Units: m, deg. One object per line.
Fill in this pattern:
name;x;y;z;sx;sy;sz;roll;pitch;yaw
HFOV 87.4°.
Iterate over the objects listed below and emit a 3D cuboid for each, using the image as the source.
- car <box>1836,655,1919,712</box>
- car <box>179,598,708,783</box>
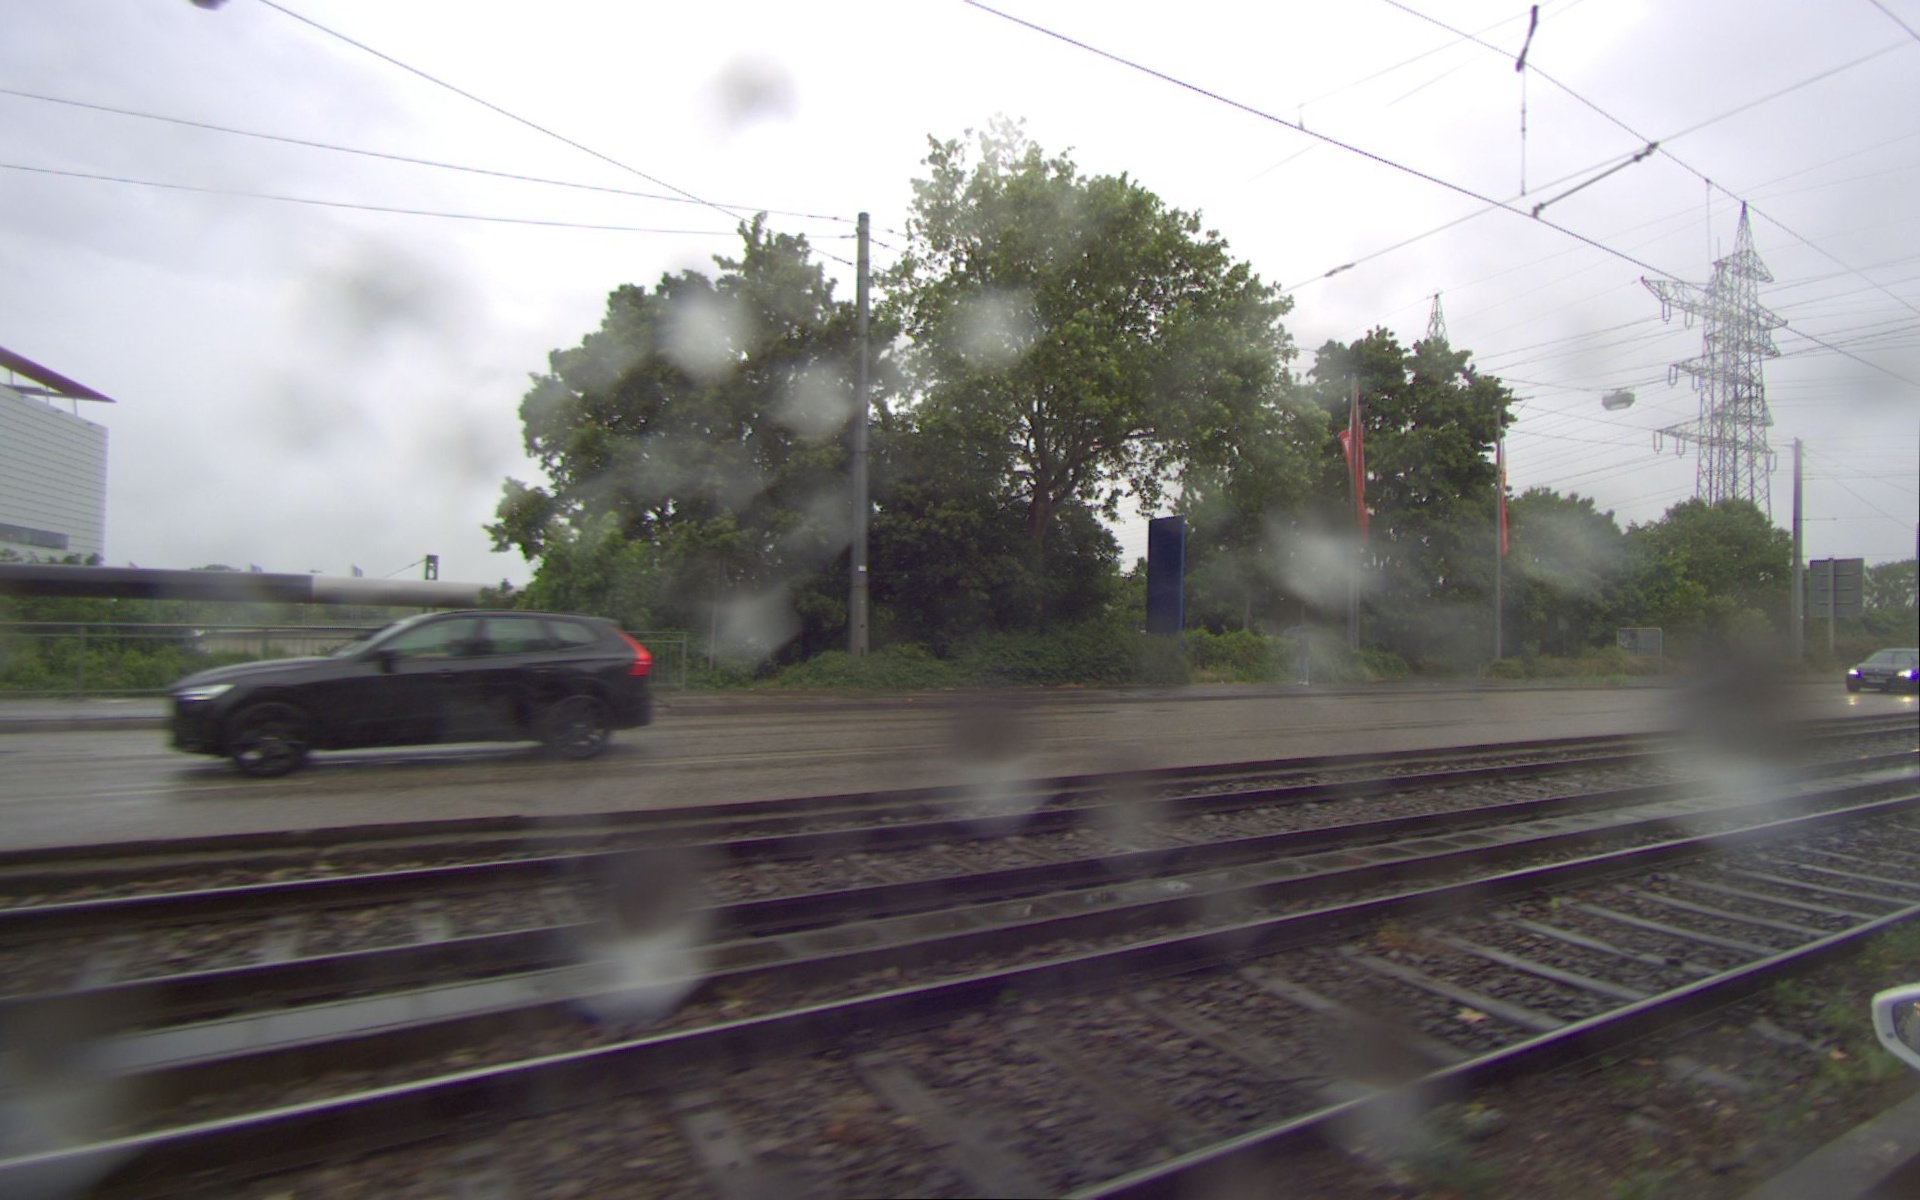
car;31.396;2.737;33.588;4.346;1.664;1.878;2;0;-30
car;-5.469;0.912;11.193;4.814;1.674;1.928;2;-2;-30
